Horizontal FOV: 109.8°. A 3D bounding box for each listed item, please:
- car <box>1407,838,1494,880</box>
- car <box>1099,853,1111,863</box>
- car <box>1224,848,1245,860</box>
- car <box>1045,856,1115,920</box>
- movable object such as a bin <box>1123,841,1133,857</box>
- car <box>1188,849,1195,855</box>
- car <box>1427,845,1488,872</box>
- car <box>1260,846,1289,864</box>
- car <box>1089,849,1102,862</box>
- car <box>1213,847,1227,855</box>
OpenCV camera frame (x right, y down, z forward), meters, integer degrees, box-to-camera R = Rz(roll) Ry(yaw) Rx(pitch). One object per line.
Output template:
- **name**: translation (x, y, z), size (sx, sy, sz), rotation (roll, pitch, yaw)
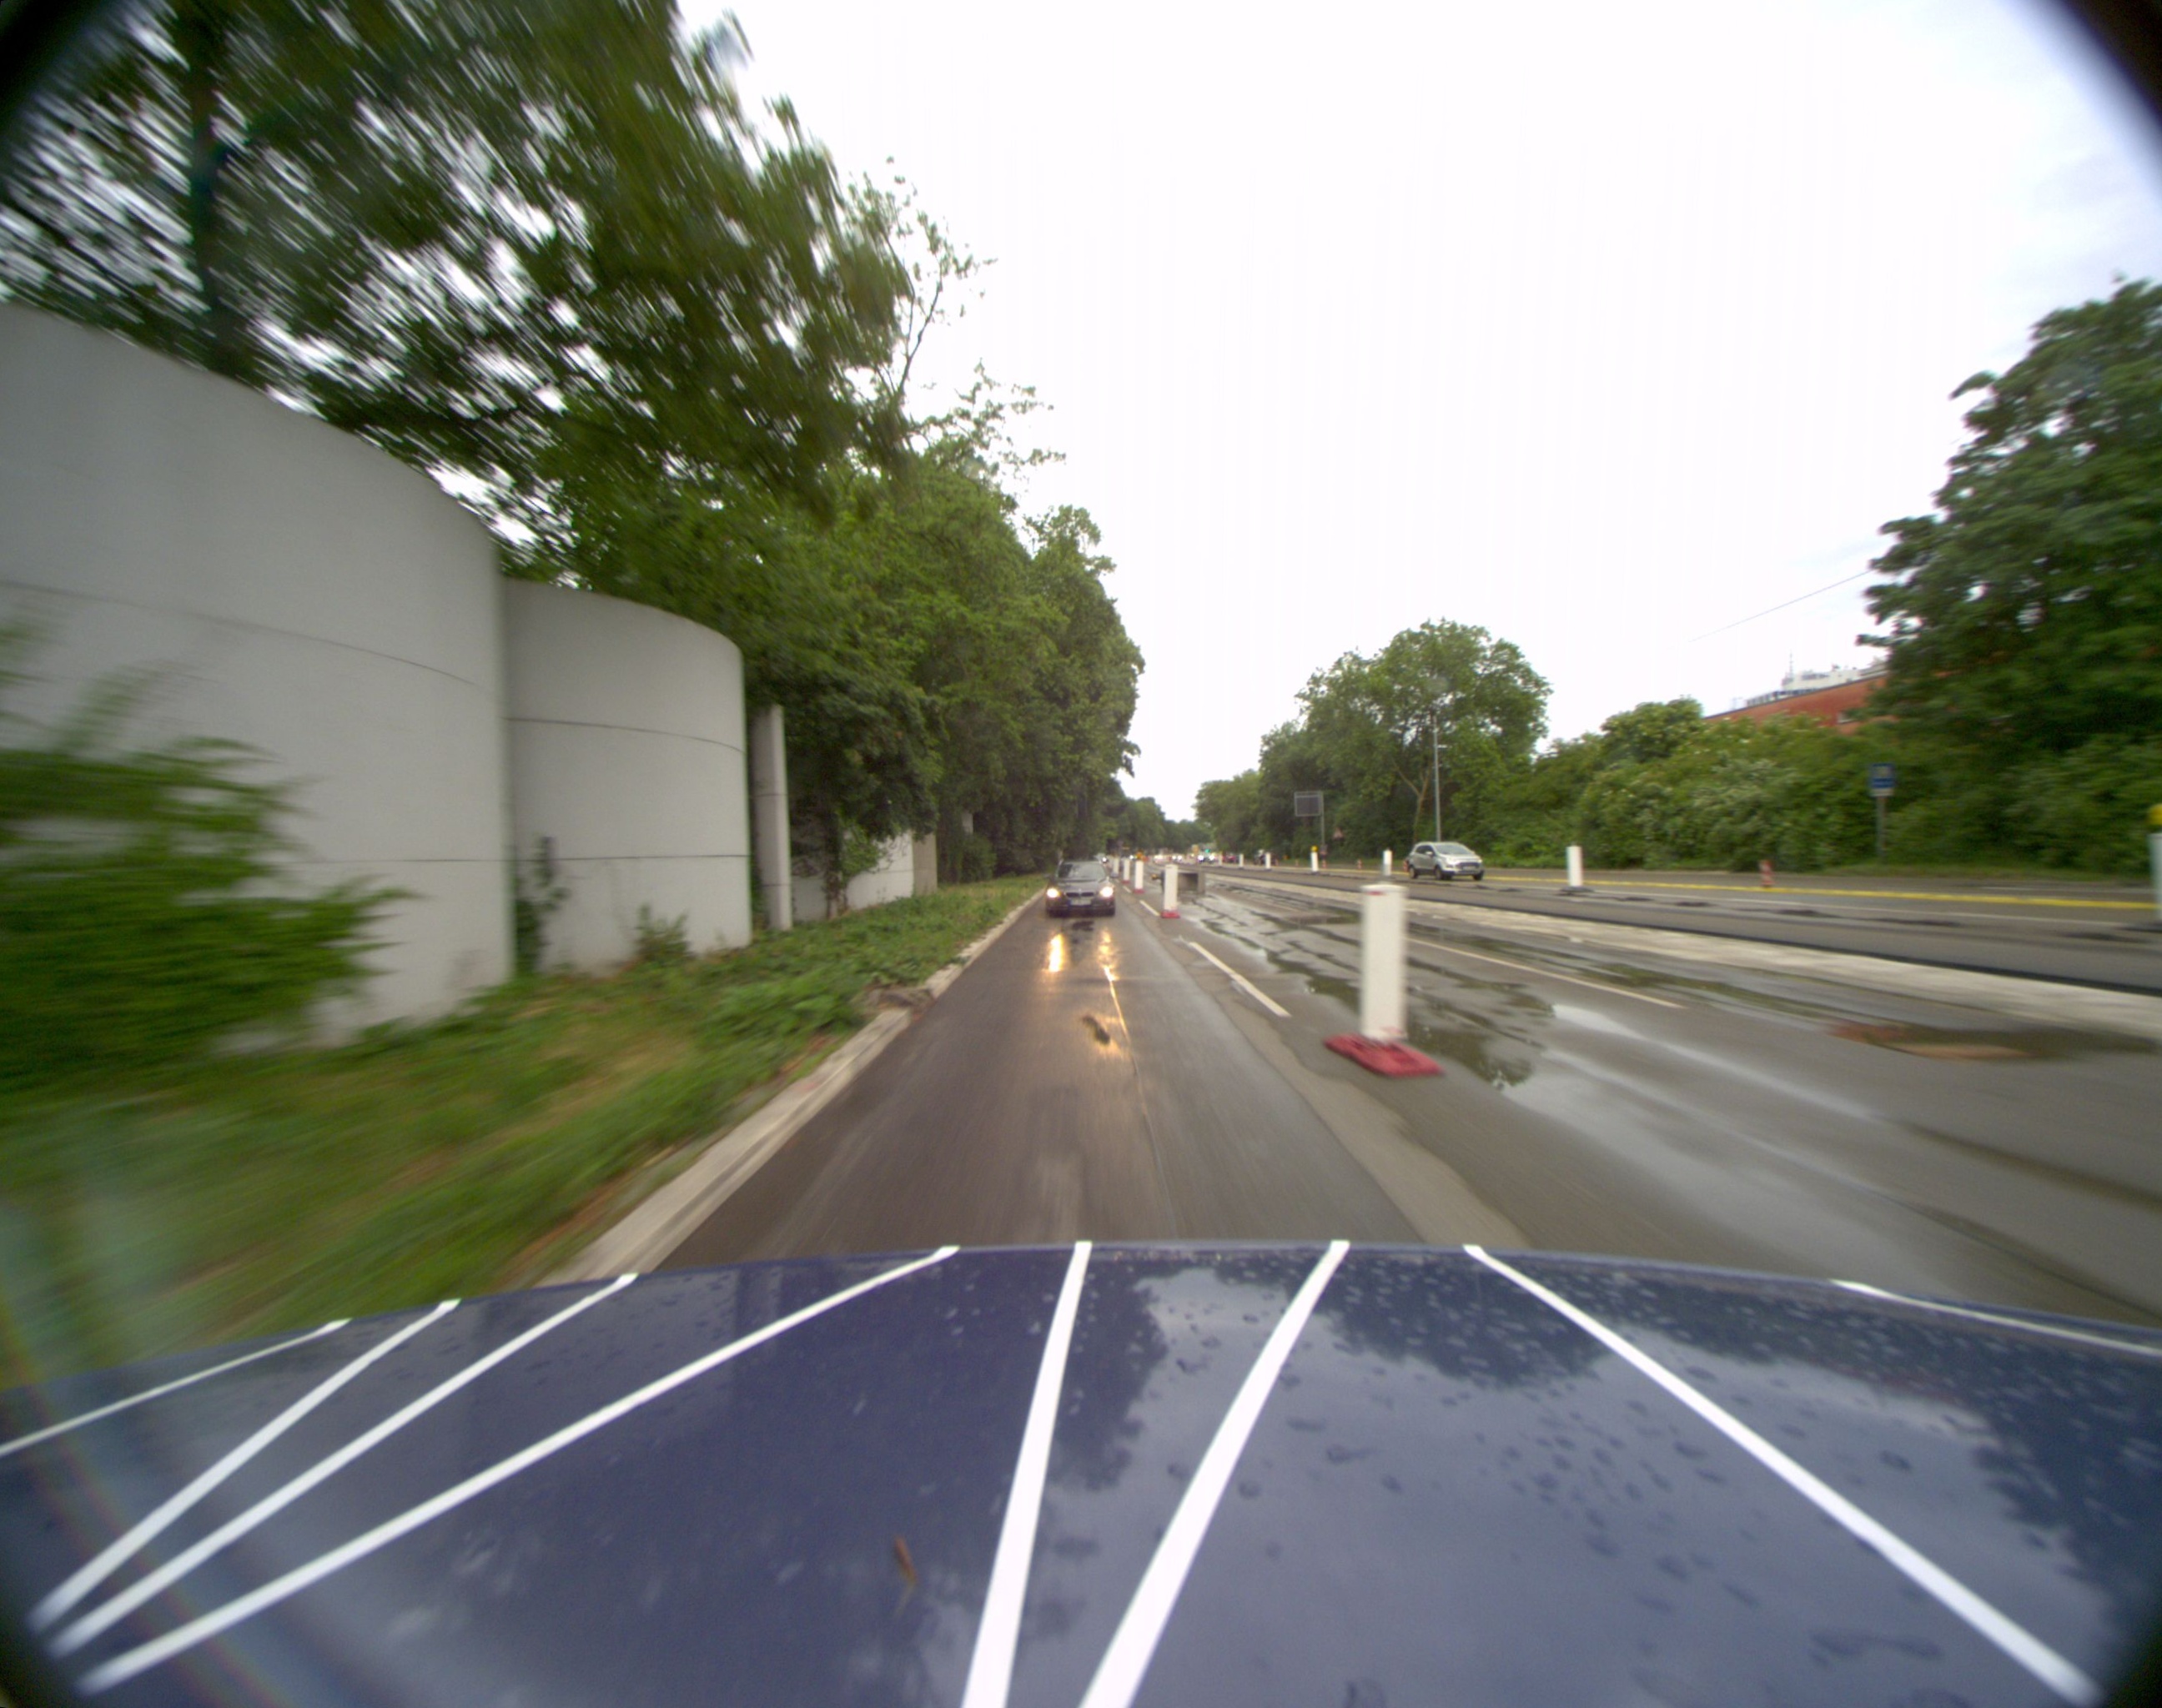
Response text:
- **car**: translation (15.316, 0.182, 31.745), size (1.794, 1.575, 3.861), rotation (-2, 1, 1)
- **car**: translation (4.195, 0.689, 132.807), size (1.707, 1.681, 4.473), rotation (0, 1, 5)
- **car**: translation (20.575, 0.007, 101.815), size (1.765, 1.475, 4.899), rotation (-1, 0, 0)
- **car**: translation (-0.016, 0.848, 20.644), size (1.701, 1.477, 3.999), rotation (0, 1, 0)
- **movable object such as a bin**: translation (9.119, -1.009, 147.352), size (1.807, 2.968, 5.247), rotation (-1, 1, 6)
- **car**: translation (34.739, -0.699, 239.419), size (1.781, 1.654, 4.915), rotation (0, 1, 2)
- **car**: translation (20.252, 0.226, 40.999), size (1.451, 1.324, 3.861), rotation (-2, 1, 1)
- **car**: translation (19.569, 0.123, 77.028), size (1.739, 1.712, 4.493), rotation (-2, 1, 0)
- **car**: translation (1.978, 0.194, 101.009), size (1.707, 1.681, 4.471), rotation (0, 1, 2)
- **car**: translation (26.520, -0.602, 145.248), size (1.822, 1.411, 4.602), rotation (-2, 0, 1)
